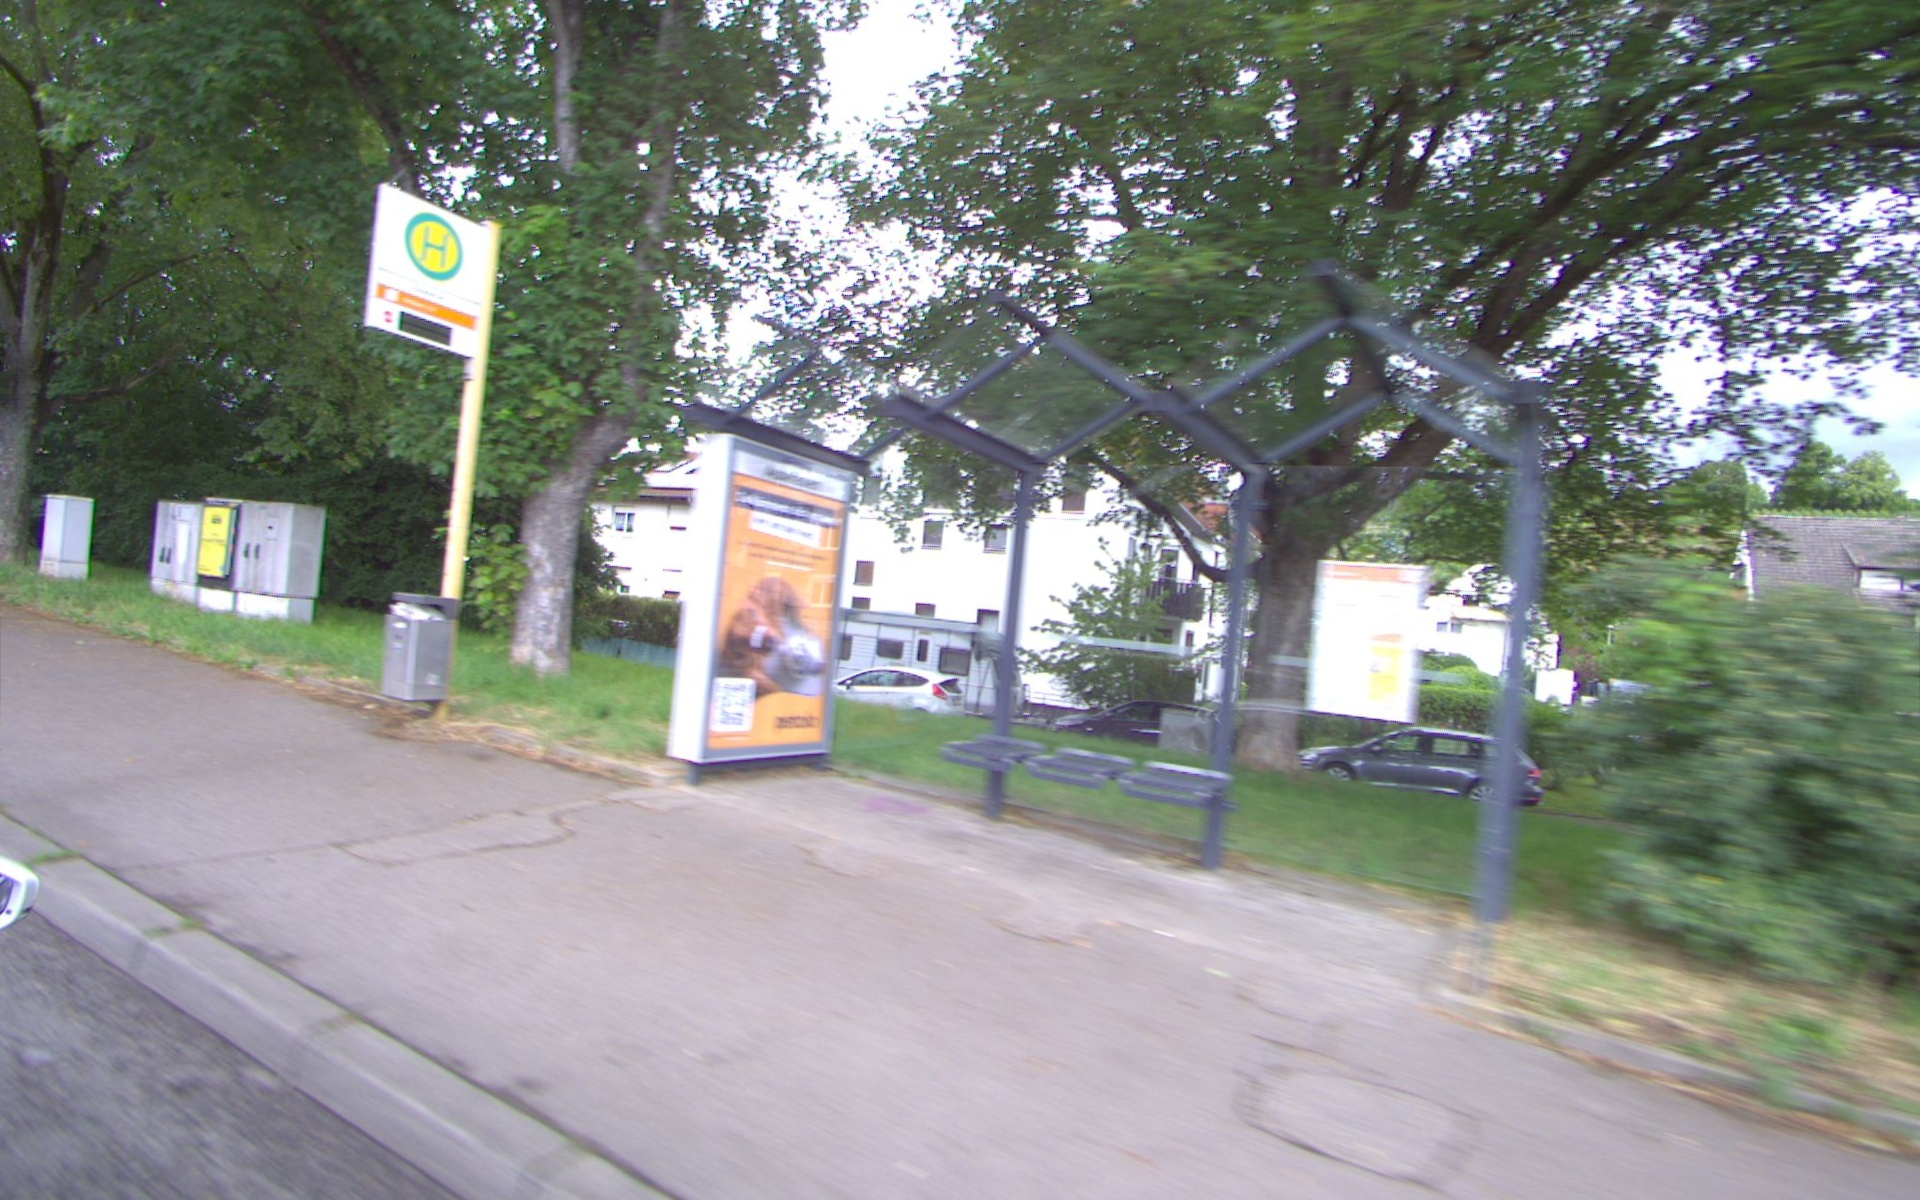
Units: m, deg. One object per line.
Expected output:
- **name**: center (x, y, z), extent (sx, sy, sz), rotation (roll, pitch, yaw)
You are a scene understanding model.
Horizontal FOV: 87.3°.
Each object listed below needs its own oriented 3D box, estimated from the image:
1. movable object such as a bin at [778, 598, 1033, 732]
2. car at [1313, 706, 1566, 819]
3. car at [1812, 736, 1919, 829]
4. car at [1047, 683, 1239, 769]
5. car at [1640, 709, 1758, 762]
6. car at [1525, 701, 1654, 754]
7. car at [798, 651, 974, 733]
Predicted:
- **movable object such as a bin**: center (-1.446, 1.666, 26.392), extent (6.157, 2.653, 2.002), rotation (6, -3, 22)
- **car**: center (9.232, 3.110, 19.770), extent (4.210, 1.477, 1.667), rotation (6, -3, 20)
- **car**: center (21.873, 4.233, 22.505), extent (1.964, 1.785, 4.003), rotation (7, -3, -3)
- **car**: center (3.978, 2.685, 21.806), extent (3.786, 1.260, 1.629), rotation (6, -3, 20)
- **car**: center (31.058, 5.655, 42.433), extent (1.963, 1.535, 4.002), rotation (7, -1, 2)
- **car**: center (23.631, 4.745, 37.981), extent (1.963, 1.441, 4.475), rotation (7, -3, 1)
- **car**: center (-1.748, 2.178, 23.947), extent (3.769, 1.401, 1.485), rotation (6, -3, 20)
